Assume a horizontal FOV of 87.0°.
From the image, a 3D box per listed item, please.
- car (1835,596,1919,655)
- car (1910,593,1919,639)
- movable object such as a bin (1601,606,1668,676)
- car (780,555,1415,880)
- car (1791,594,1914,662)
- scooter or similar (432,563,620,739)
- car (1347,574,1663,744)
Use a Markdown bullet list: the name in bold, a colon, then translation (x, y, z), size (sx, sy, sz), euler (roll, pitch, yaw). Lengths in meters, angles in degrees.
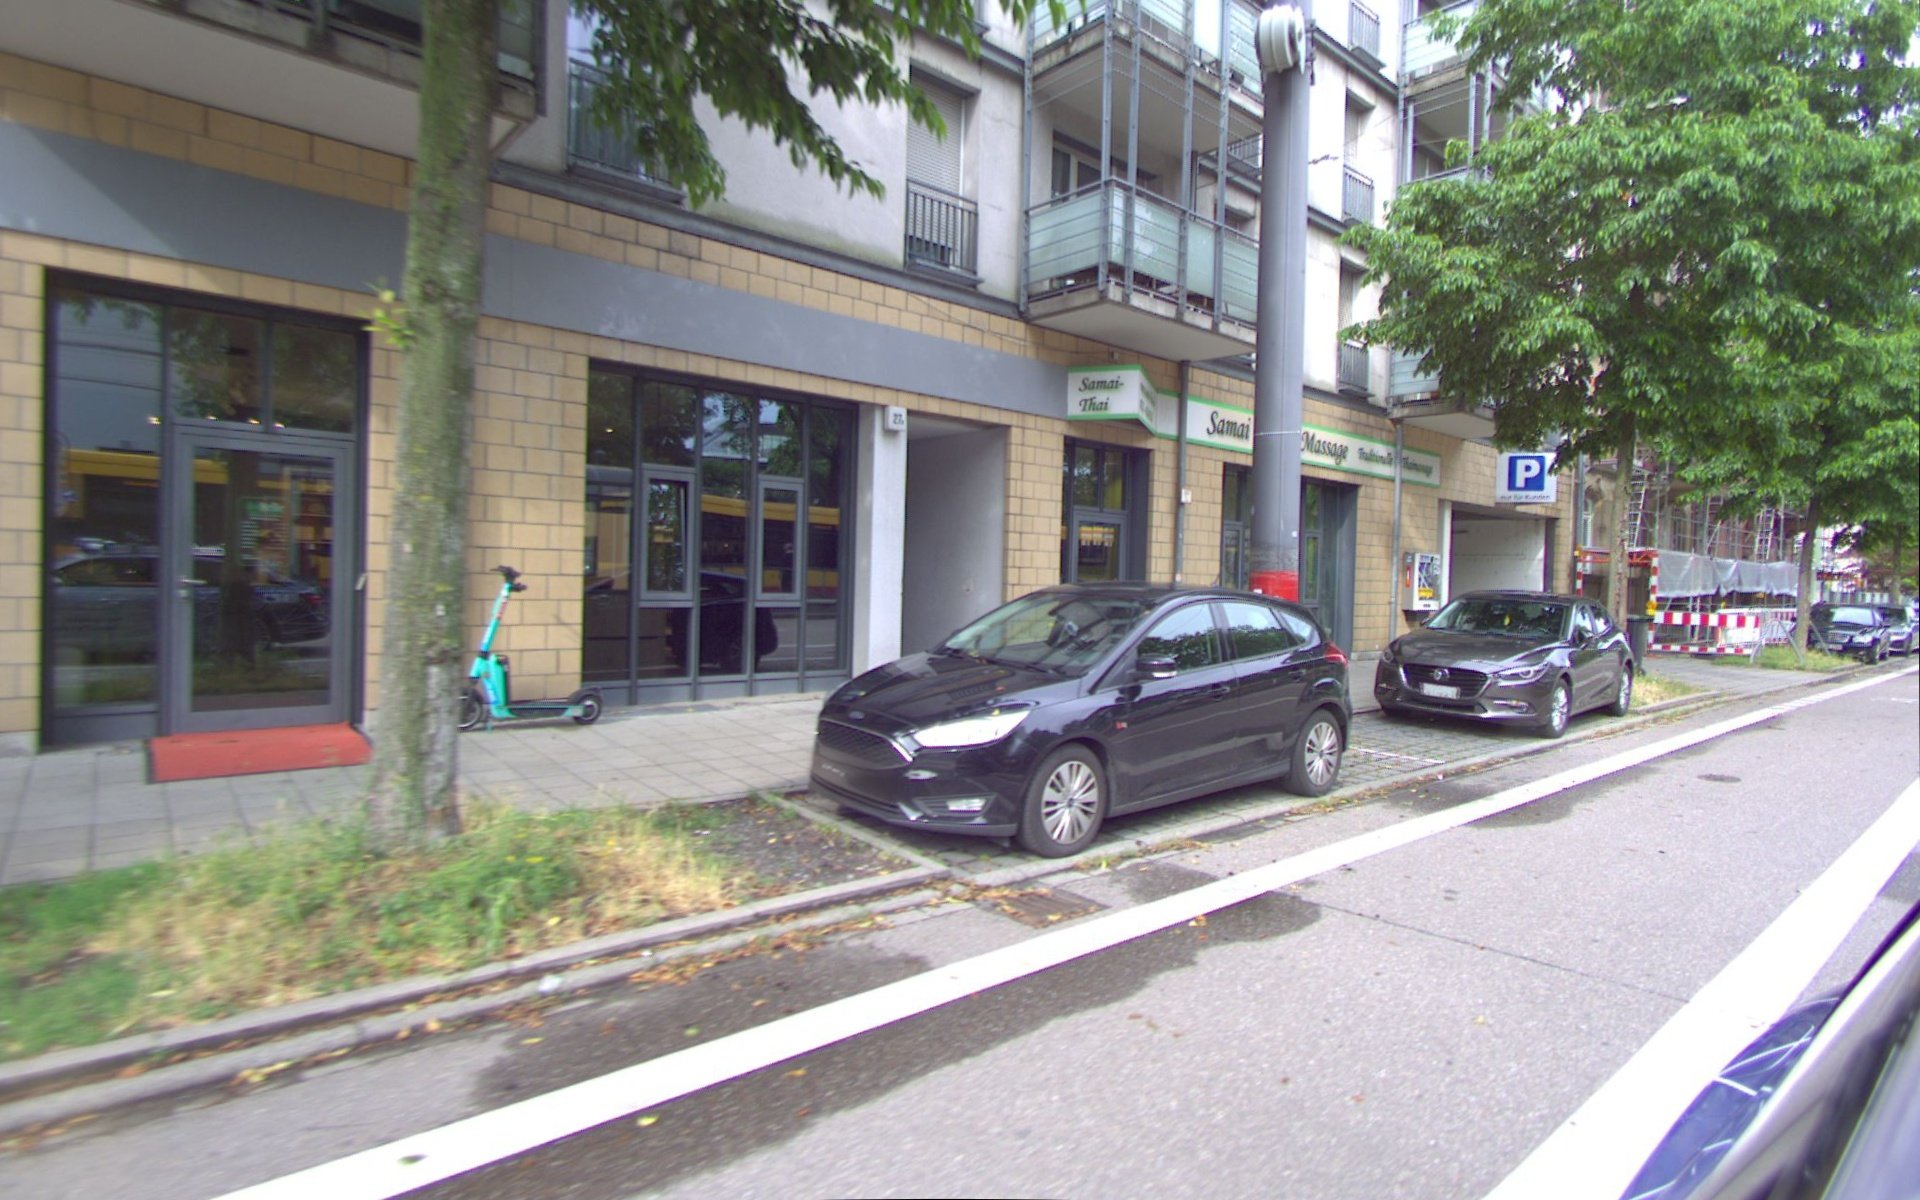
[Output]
- **car**: translation (26.928, 0.686, 29.336), size (4.205, 1.478, 1.754), euler (0, 4, -41)
- **car**: translation (38.999, 0.653, 39.852), size (4.205, 1.751, 1.836), euler (0, 4, -41)
- **movable object such as a bin**: translation (11.092, 0.657, 16.655), size (0.531, 1.067, 0.763), euler (0, 3, -40)
- **car**: translation (1.139, 0.527, 6.783), size (4.329, 1.459, 1.681), euler (0, 4, -40)
- **car**: translation (22.559, 0.638, 25.518), size (4.205, 1.478, 1.754), euler (0, 4, -41)
- **scooter or similar**: translation (-3.291, 0.352, 7.716), size (1.193, 1.215, 0.518), euler (0, 4, -41)
- **car**: translation (6.330, 0.521, 11.529), size (4.315, 1.472, 1.801), euler (0, 5, -43)
